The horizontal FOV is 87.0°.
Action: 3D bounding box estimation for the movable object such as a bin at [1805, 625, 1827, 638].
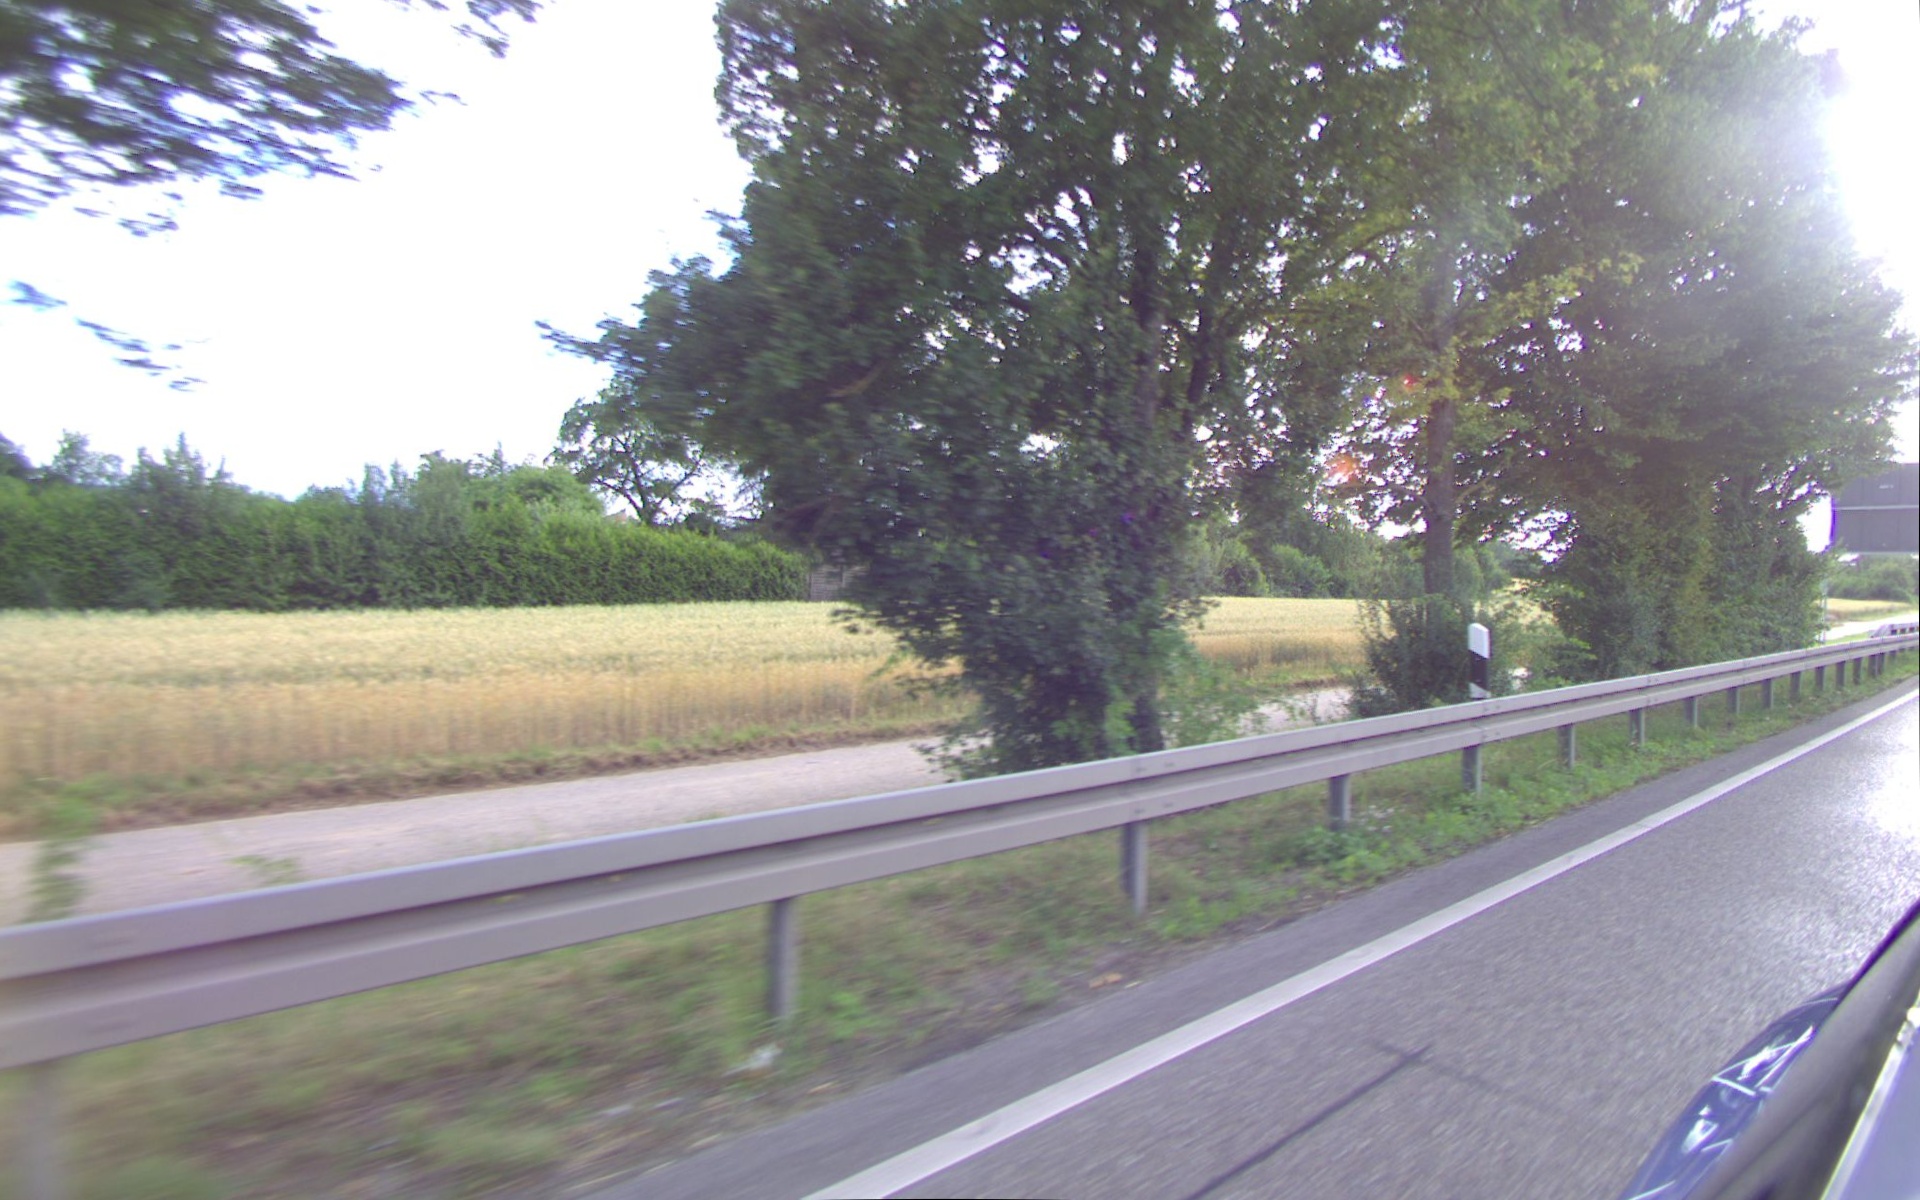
[{"bbox_3d":[45.472,1.661,53.768,1.214,0.654,0.733,-1,0,-43],"label":"movable object such as a bin"}]
